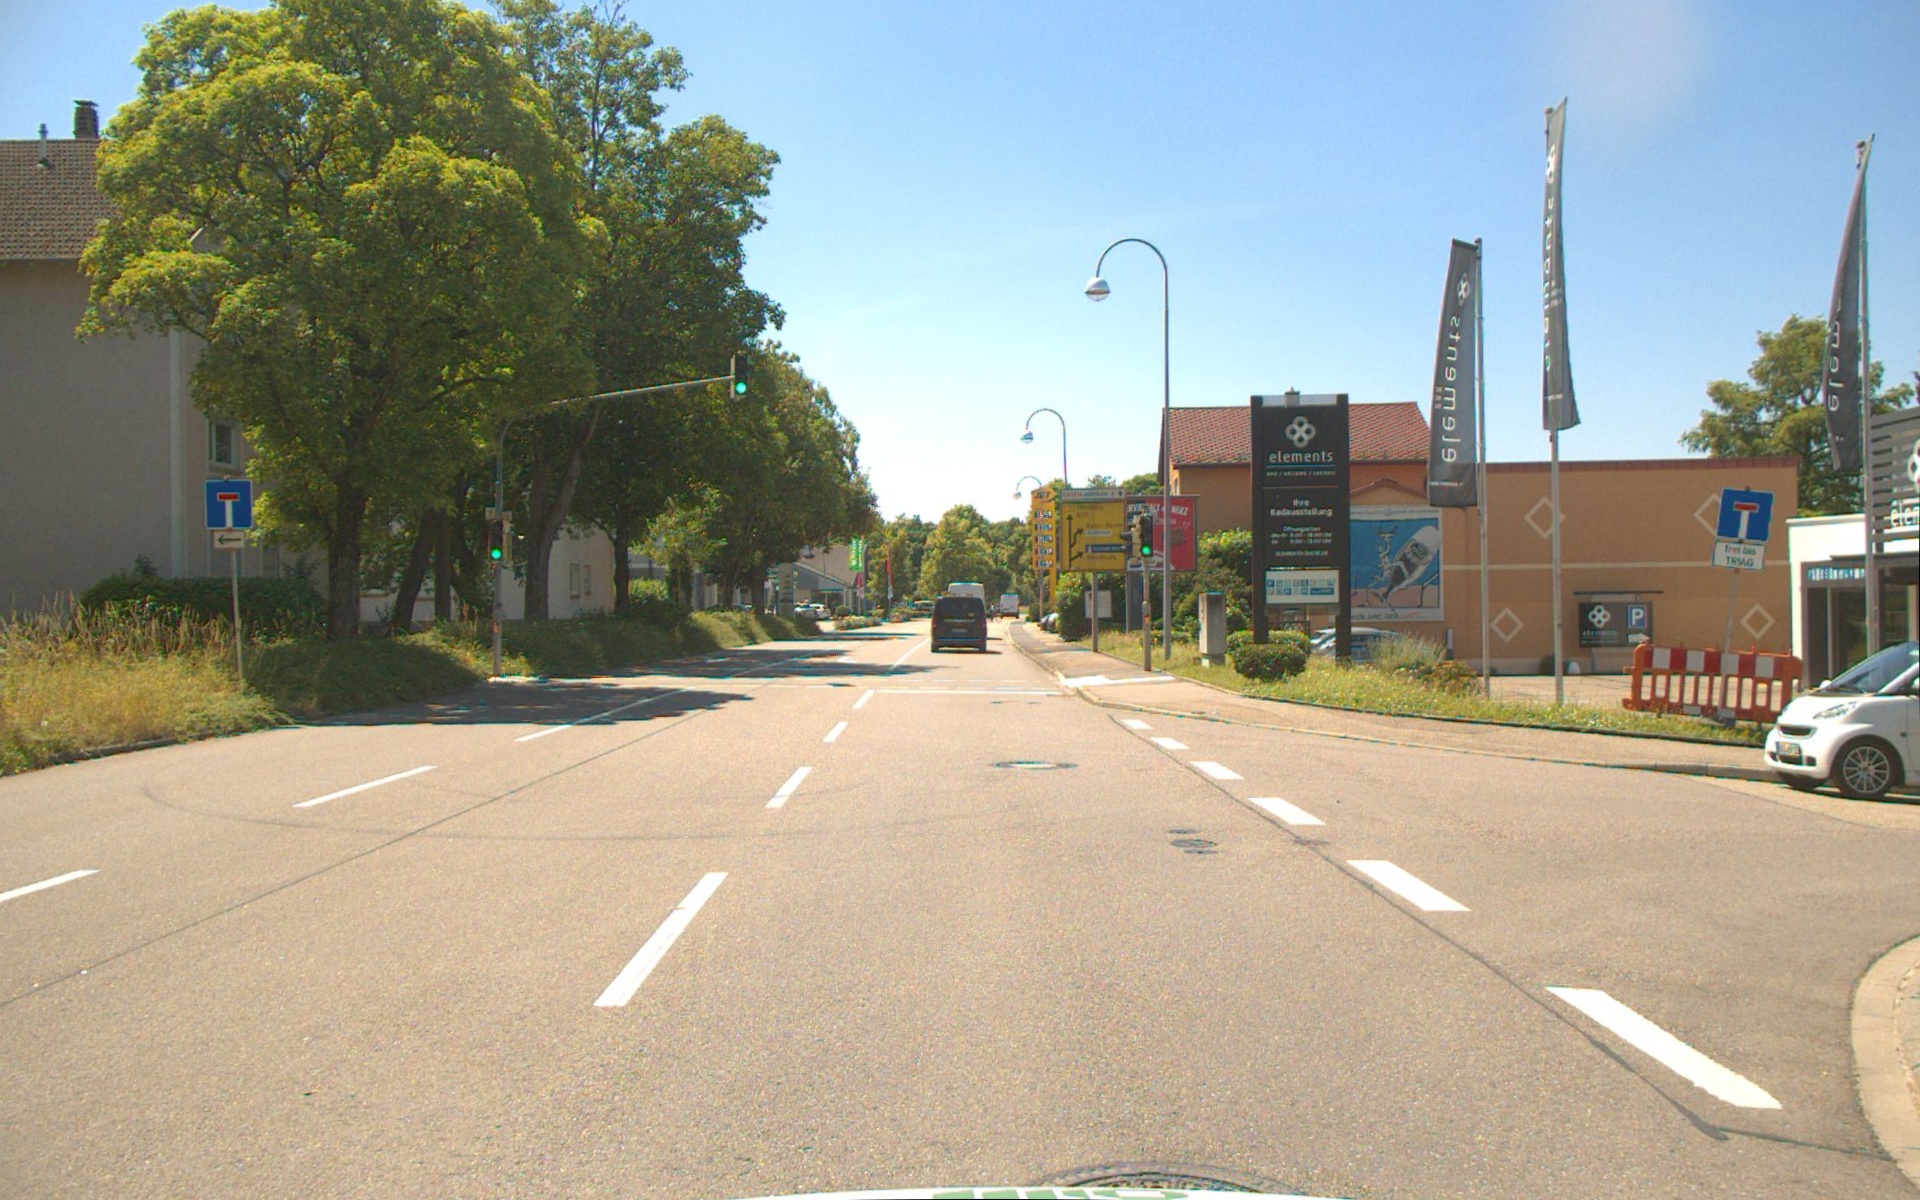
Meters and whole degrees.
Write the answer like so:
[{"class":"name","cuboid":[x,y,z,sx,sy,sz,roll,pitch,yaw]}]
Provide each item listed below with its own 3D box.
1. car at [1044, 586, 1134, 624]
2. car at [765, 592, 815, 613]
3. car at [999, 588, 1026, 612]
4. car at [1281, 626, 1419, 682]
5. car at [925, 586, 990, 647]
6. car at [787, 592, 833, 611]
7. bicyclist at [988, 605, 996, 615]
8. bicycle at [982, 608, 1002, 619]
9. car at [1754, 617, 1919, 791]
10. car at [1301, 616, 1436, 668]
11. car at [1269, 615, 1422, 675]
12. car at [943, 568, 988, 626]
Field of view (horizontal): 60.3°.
[{"class":"car","cuboid":[6.787,0.248,87.443,4.467,1.747,1.999,-2,1,-4]},{"class":"car","cuboid":[-15.180,0.225,147.596,3.956,1.735,1.904,1,1,17]},{"class":"car","cuboid":[5.783,-0.045,182.876,2.302,2.591,4.960,1,1,10]},{"class":"car","cuboid":[10.833,1.480,46.164,3.544,1.441,1.699,1,1,5]},{"class":"car","cuboid":[-0.134,0.525,55.486,1.954,1.926,3.998,0,1,-3]},{"class":"car","cuboid":[-14.086,0.150,155.301,3.902,1.691,2.002,1,1,10]},{"class":"bicyclist","cuboid":[2.892,0.901,150.103,0.462,0.868,0.553,-2,3,-26]},{"class":"bicycle","cuboid":[2.911,1.192,150.120,1.694,0.902,0.553,-2,3,-27]},{"class":"car","cuboid":[9.370,1.034,15.899,2.709,1.546,1.597,3,-2,5]},{"class":"car","cuboid":[13.607,1.393,55.271,4.169,1.627,1.891,0,1,7]},{"class":"car","cuboid":[11.529,1.338,49.653,4.183,1.675,1.890,1,1,2]},{"class":"car","cuboid":[0.270,-0.188,80.070,2.076,2.724,5.662,1,1,0]}]
